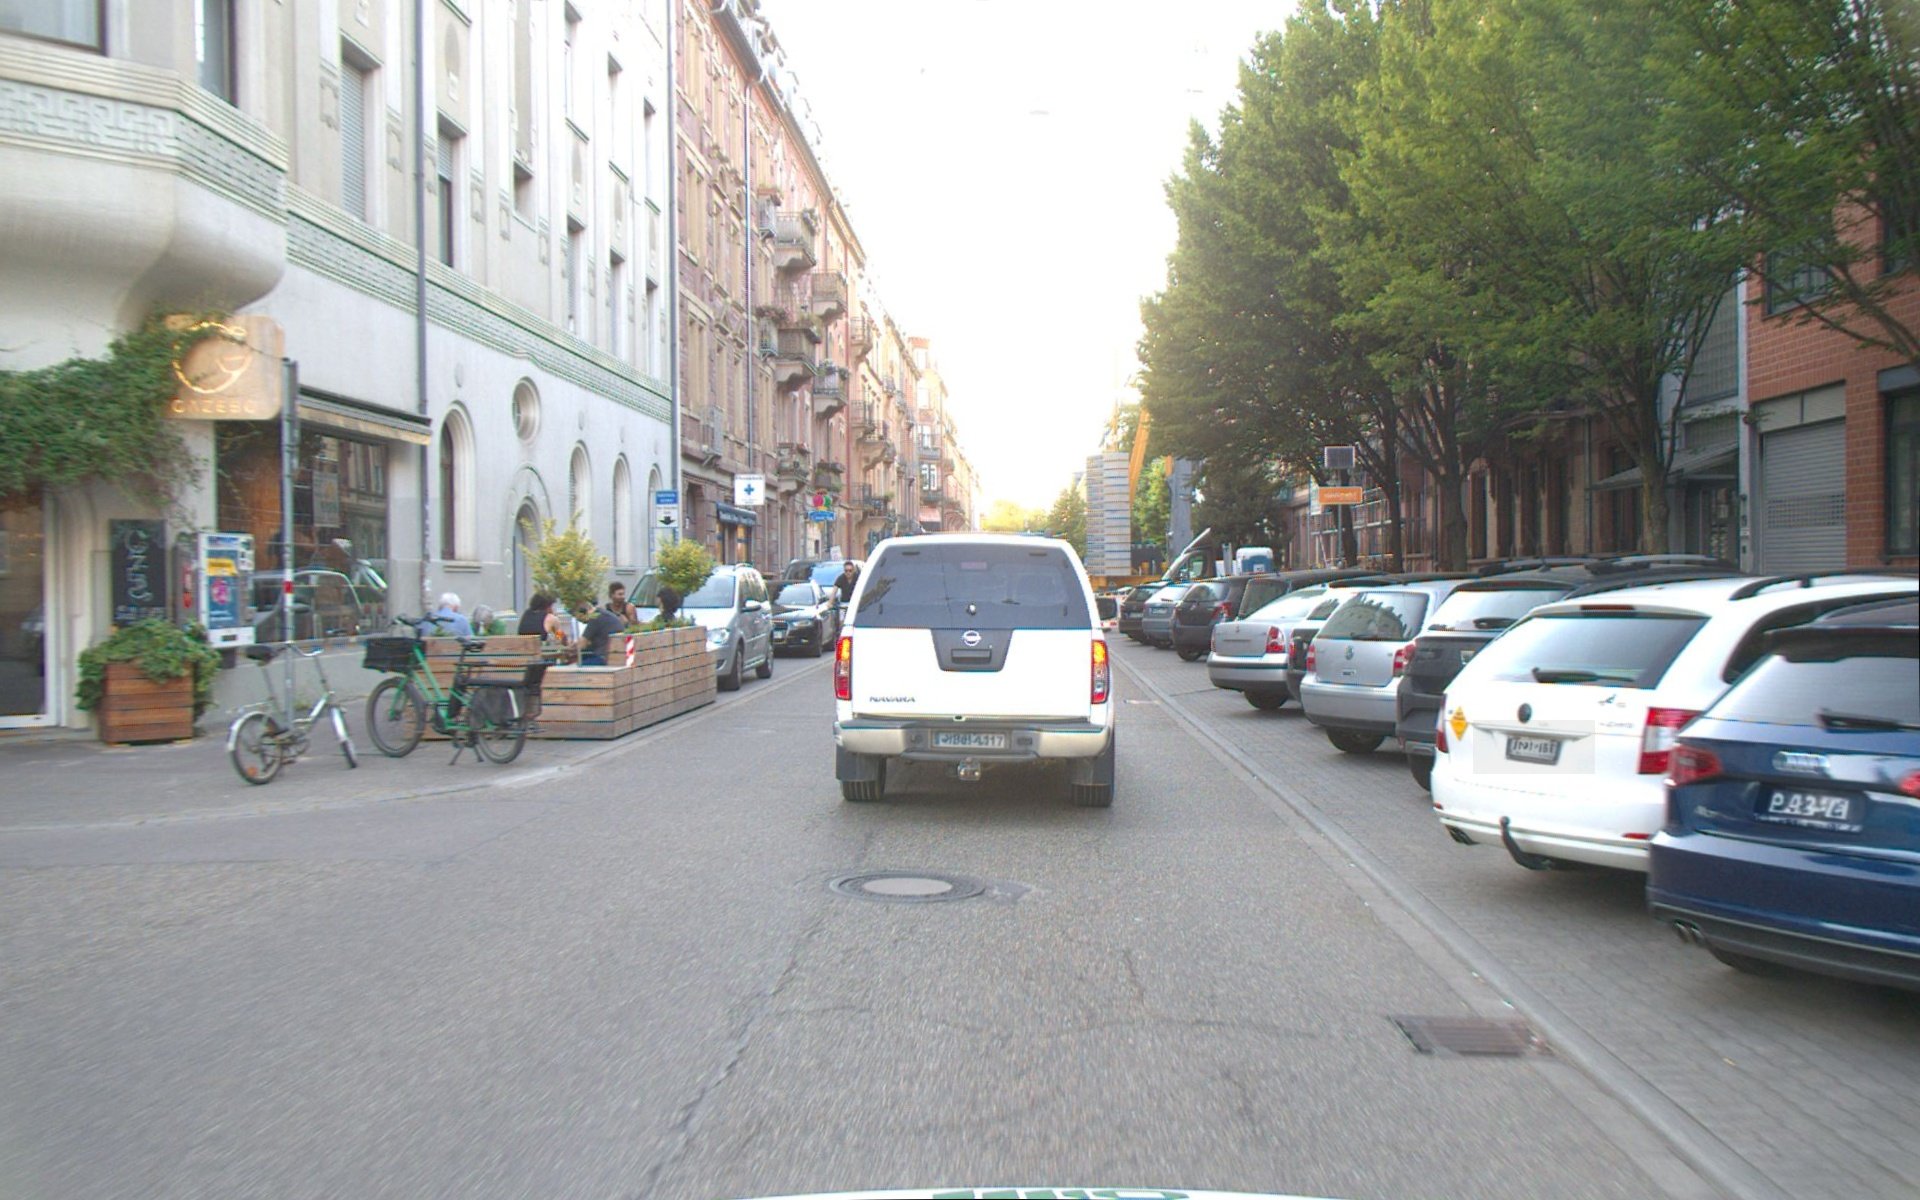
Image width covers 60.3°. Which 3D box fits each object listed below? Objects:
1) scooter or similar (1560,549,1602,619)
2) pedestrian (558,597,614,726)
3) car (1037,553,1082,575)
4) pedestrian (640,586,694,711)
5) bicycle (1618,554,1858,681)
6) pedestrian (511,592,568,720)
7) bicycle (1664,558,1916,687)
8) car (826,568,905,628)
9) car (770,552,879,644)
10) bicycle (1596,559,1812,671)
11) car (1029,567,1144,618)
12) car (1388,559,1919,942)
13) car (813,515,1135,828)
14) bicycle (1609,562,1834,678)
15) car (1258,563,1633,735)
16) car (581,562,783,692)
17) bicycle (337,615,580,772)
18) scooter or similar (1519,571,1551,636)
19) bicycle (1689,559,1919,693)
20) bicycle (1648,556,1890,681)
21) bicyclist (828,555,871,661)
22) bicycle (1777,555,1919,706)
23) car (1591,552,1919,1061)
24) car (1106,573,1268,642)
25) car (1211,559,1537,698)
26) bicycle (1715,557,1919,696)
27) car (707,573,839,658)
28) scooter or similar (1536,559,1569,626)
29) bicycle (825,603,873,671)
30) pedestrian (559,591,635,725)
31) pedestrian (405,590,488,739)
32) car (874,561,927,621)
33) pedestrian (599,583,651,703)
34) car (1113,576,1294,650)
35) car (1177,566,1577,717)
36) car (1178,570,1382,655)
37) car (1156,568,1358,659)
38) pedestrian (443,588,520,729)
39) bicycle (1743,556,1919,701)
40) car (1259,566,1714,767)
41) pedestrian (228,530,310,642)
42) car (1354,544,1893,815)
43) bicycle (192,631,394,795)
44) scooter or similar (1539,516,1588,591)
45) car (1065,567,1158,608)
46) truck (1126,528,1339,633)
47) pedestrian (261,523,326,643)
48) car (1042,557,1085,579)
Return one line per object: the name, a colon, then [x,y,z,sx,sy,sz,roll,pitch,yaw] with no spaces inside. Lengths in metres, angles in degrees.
scooter or similar: [11.577,-0.303,30.875,0.403,1.239,1.777,-5,0,13]
pedestrian: [-4.064,0.657,17.986,0.458,1.373,0.611,0,0,1]
car: [10.203,-3.649,169.574,4.491,2.215,1.821,0,1,5]
pedestrian: [-3.283,0.531,18.555,0.474,1.373,0.669,0,0,1]
bicycle: [9.388,0.205,20.021,2.482,1.266,0.599,-6,0,4]
pedestrian: [-4.588,0.599,18.065,0.458,1.373,0.611,0,0,1]
bicycle: [9.288,0.250,18.560,2.481,1.403,0.599,0,0,4]
car: [-2.749,-0.083,48.932,1.865,1.692,4.070,-1,1,4]
car: [-3.023,-0.083,37.882,1.865,1.959,4.949,1,1,3]
bicycle: [9.569,0.193,21.331,2.481,1.403,0.599,0,0,4]
car: [4.692,-0.289,61.015,4.106,1.811,1.821,1,1,8]
car: [4.230,0.578,8.472,3.943,1.564,1.620,-1,1,-29]
car: [0.223,0.394,12.242,1.893,1.826,4.624,1,1,3]
bicycle: [9.460,0.241,20.601,2.481,1.403,0.599,0,0,4]
car: [4.916,0.428,16.721,3.550,1.561,1.550,-1,1,-26]
car: [-3.739,0.309,22.995,1.952,1.619,4.315,-1,1,2]
bicycle: [-3.980,0.707,13.074,2.069,1.114,0.500,1,2,27]
scooter or similar: [11.493,0.058,33.022,0.362,1.239,1.619,-3,0,26]
bicycle: [9.259,0.270,17.841,2.481,1.403,0.599,0,0,4]
bicycle: [9.378,0.211,19.226,2.481,1.403,0.599,0,0,4]
bicyclist: [-1.830,0.125,27.496,0.590,1.714,1.143,0,0,2]
bicycle: [9.175,0.281,15.716,2.481,1.403,0.599,0,0,4]
car: [4.467,0.601,6.322,3.943,1.549,1.694,-1,-1,-29]
car: [5.438,0.157,39.470,3.853,1.557,1.616,0,1,-38]
car: [5.549,0.341,22.264,3.925,1.665,1.750,-2,1,-18]
bicycle: [9.217,0.262,17.127,2.481,1.403,0.599,0,0,4]
car: [-3.527,0.254,32.014,1.872,1.497,4.535,1,1,2]
scooter or similar: [11.530,-0.162,32.172,0.362,1.239,1.702,-3,0,26]
bicycle: [-1.830,0.596,27.476,0.602,1.058,1.904,0,1,2]
pedestrian: [-3.737,0.583,17.074,0.596,1.348,0.770,0,0,1]
pedestrian: [-4.773,0.586,15.389,0.526,1.348,0.705,0,0,3]
car: [-2.035,-0.331,57.432,1.527,1.954,3.857,2,1,2]
pedestrian: [-3.907,0.494,19.308,0.506,1.373,0.540,0,0,-1]
car: [5.440,0.245,36.797,3.789,1.461,1.743,-2,2,-33]
car: [4.850,0.417,19.241,4.312,1.561,1.795,-1,1,-22]
car: [6.560,0.226,33.899,3.774,1.557,1.750,-2,1,-24]
car: [5.538,0.215,30.796,3.359,1.500,1.758,-3,2,-29]
pedestrian: [-4.693,0.559,16.241,0.526,1.348,0.705,0,0,3]
bicycle: [9.177,0.273,16.431,2.481,1.403,0.599,0,0,4]
car: [4.532,0.489,14.236,3.549,1.508,1.709,-1,1,-26]
pedestrian: [-7.357,-0.151,17.633,0.545,1.174,0.748,0,0,1]
car: [4.635,0.435,11.474,3.558,1.608,1.698,-1,1,-31]
bicycle: [-4.879,0.789,12.218,0.414,1.030,1.720,0,2,16]
scooter or similar: [10.606,-0.799,29.111,0.457,1.238,1.777,-7,-1,13]
car: [6.799,-0.563,74.513,4.107,1.811,1.821,0,1,5]
truck: [8.200,-0.564,50.323,6.188,3.029,2.265,0,-2,3]
pedestrian: [-7.733,-0.201,19.204,0.527,1.373,0.518,0,0,3]
car: [10.882,-3.356,173.485,4.491,2.215,1.821,0,1,5]
